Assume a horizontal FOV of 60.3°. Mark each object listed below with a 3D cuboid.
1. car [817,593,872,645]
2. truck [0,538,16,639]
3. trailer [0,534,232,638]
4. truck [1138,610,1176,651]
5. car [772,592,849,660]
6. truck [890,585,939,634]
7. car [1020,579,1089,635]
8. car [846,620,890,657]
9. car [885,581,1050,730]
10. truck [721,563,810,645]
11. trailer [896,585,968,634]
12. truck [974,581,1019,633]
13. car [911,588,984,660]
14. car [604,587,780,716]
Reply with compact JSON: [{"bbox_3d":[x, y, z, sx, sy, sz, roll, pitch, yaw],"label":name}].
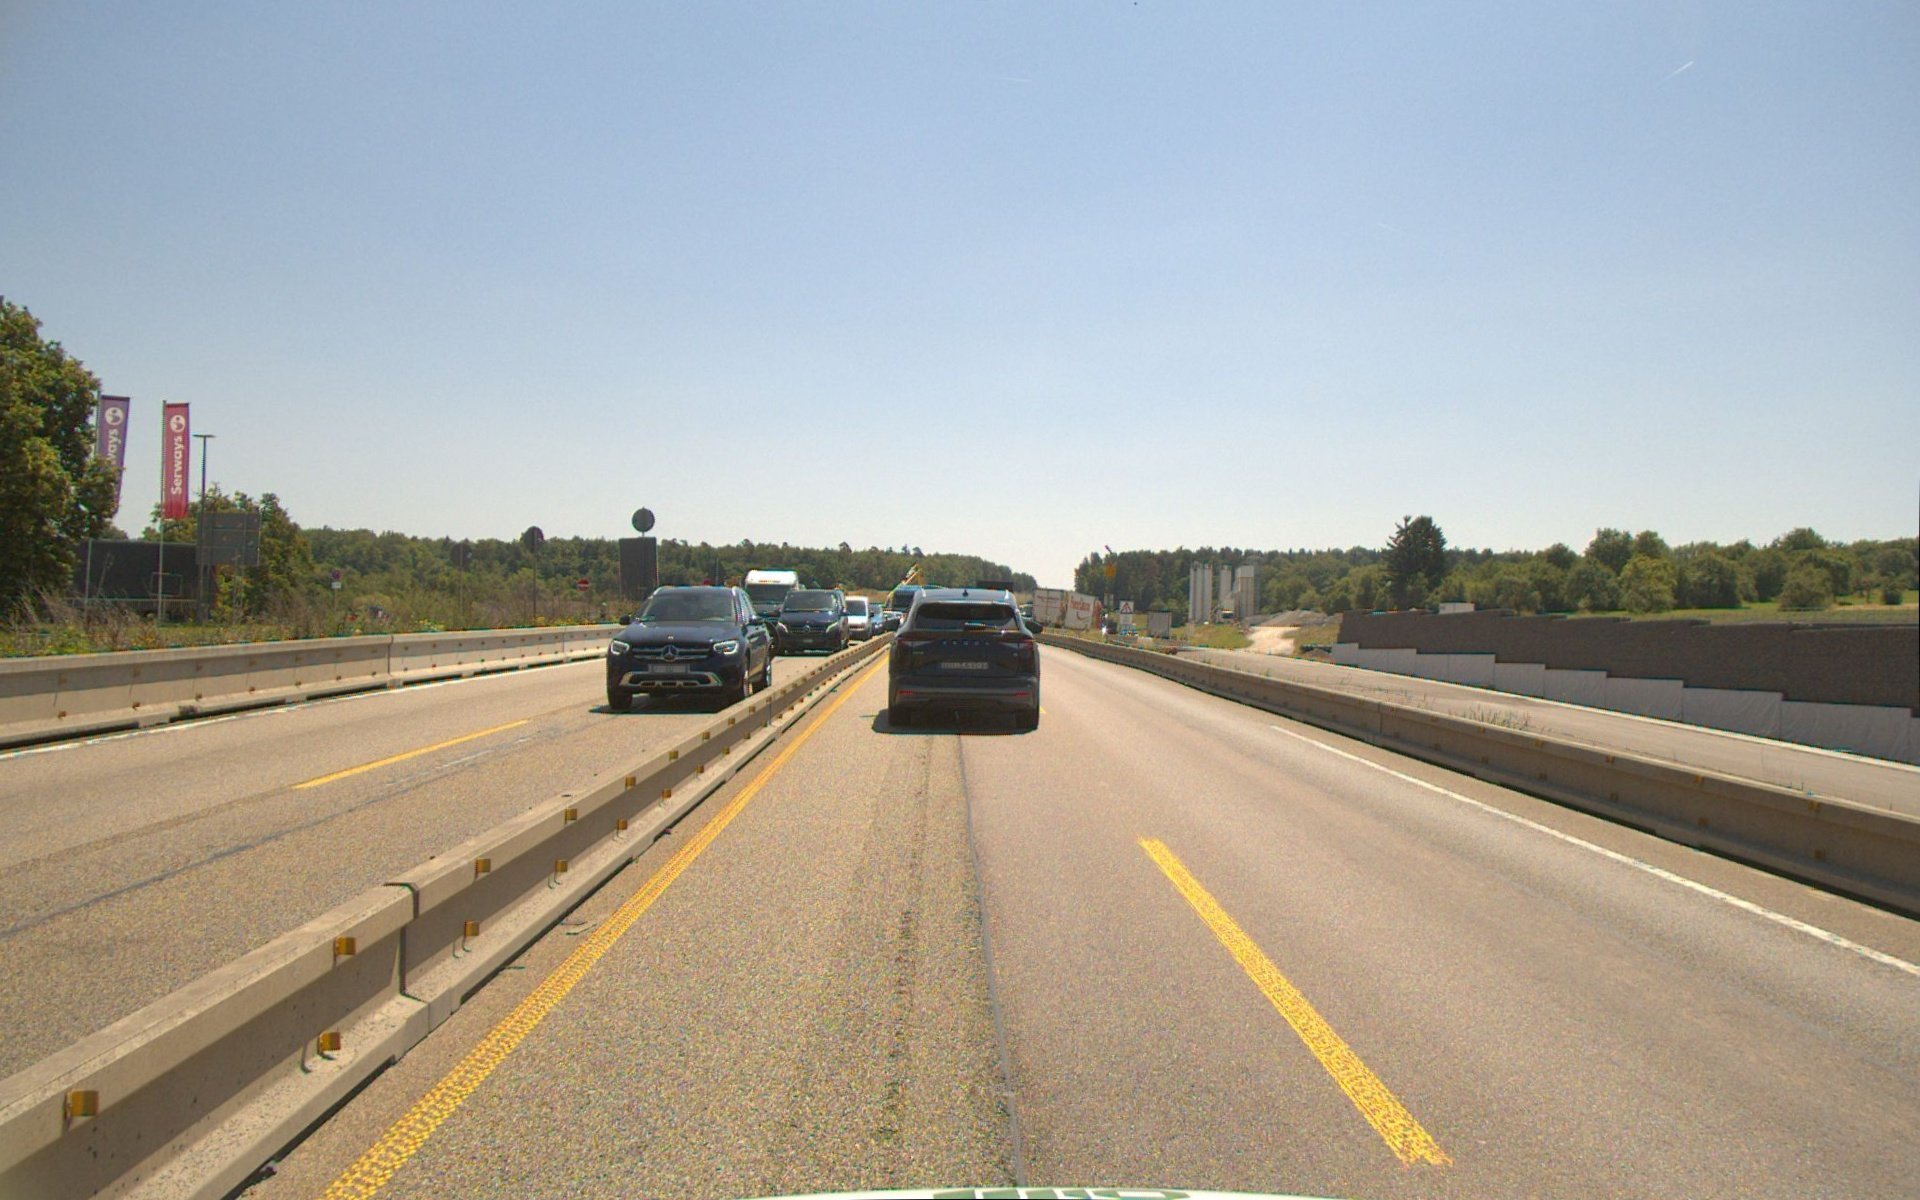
[{"bbox_3d":[-4.325,0.681,62.422,1.816,1.872,4.590,1,0,-1],"label":"car"},{"bbox_3d":[-41.179,-0.504,65.054,3.088,4.055,6.340,0,-1,26],"label":"truck"},{"bbox_3d":[-38.299,-0.494,71.092,3.088,4.183,14.150,0,-1,26],"label":"trailer"},{"bbox_3d":[23.422,3.647,196.365,3.404,4.292,10.384,7,0,10],"label":"truck"},{"bbox_3d":[-4.325,0.713,48.574,1.868,1.836,5.081,1,0,-1],"label":"car"},{"bbox_3d":[-4.012,0.884,146.777,2.852,4.201,6.143,1,-1,13],"label":"truck"},{"bbox_3d":[8.135,0.668,140.432,3.366,4.171,9.200,5,-1,18],"label":"car"},{"bbox_3d":[-4.357,1.802,78.588,1.866,1.637,4.000,1,0,0],"label":"car"},{"bbox_3d":[0.090,0.628,20.524,1.805,1.609,4.000,2,0,0],"label":"car"},{"bbox_3d":[-7.349,0.174,63.415,2.429,2.874,8.127,1,-1,-1],"label":"truck"},{"bbox_3d":[-2.458,0.995,152.768,2.852,4.201,13.924,1,-1,15],"label":"trailer"},{"bbox_3d":[2.219,0.413,100.321,2.617,2.997,5.621,1,0,2],"label":"truck"},{"bbox_3d":[-0.406,0.687,47.820,1.953,1.876,3.998,3,-1,-2],"label":"car"},{"bbox_3d":[-3.718,0.653,23.752,1.818,1.631,4.734,1,0,-1],"label":"car"}]
